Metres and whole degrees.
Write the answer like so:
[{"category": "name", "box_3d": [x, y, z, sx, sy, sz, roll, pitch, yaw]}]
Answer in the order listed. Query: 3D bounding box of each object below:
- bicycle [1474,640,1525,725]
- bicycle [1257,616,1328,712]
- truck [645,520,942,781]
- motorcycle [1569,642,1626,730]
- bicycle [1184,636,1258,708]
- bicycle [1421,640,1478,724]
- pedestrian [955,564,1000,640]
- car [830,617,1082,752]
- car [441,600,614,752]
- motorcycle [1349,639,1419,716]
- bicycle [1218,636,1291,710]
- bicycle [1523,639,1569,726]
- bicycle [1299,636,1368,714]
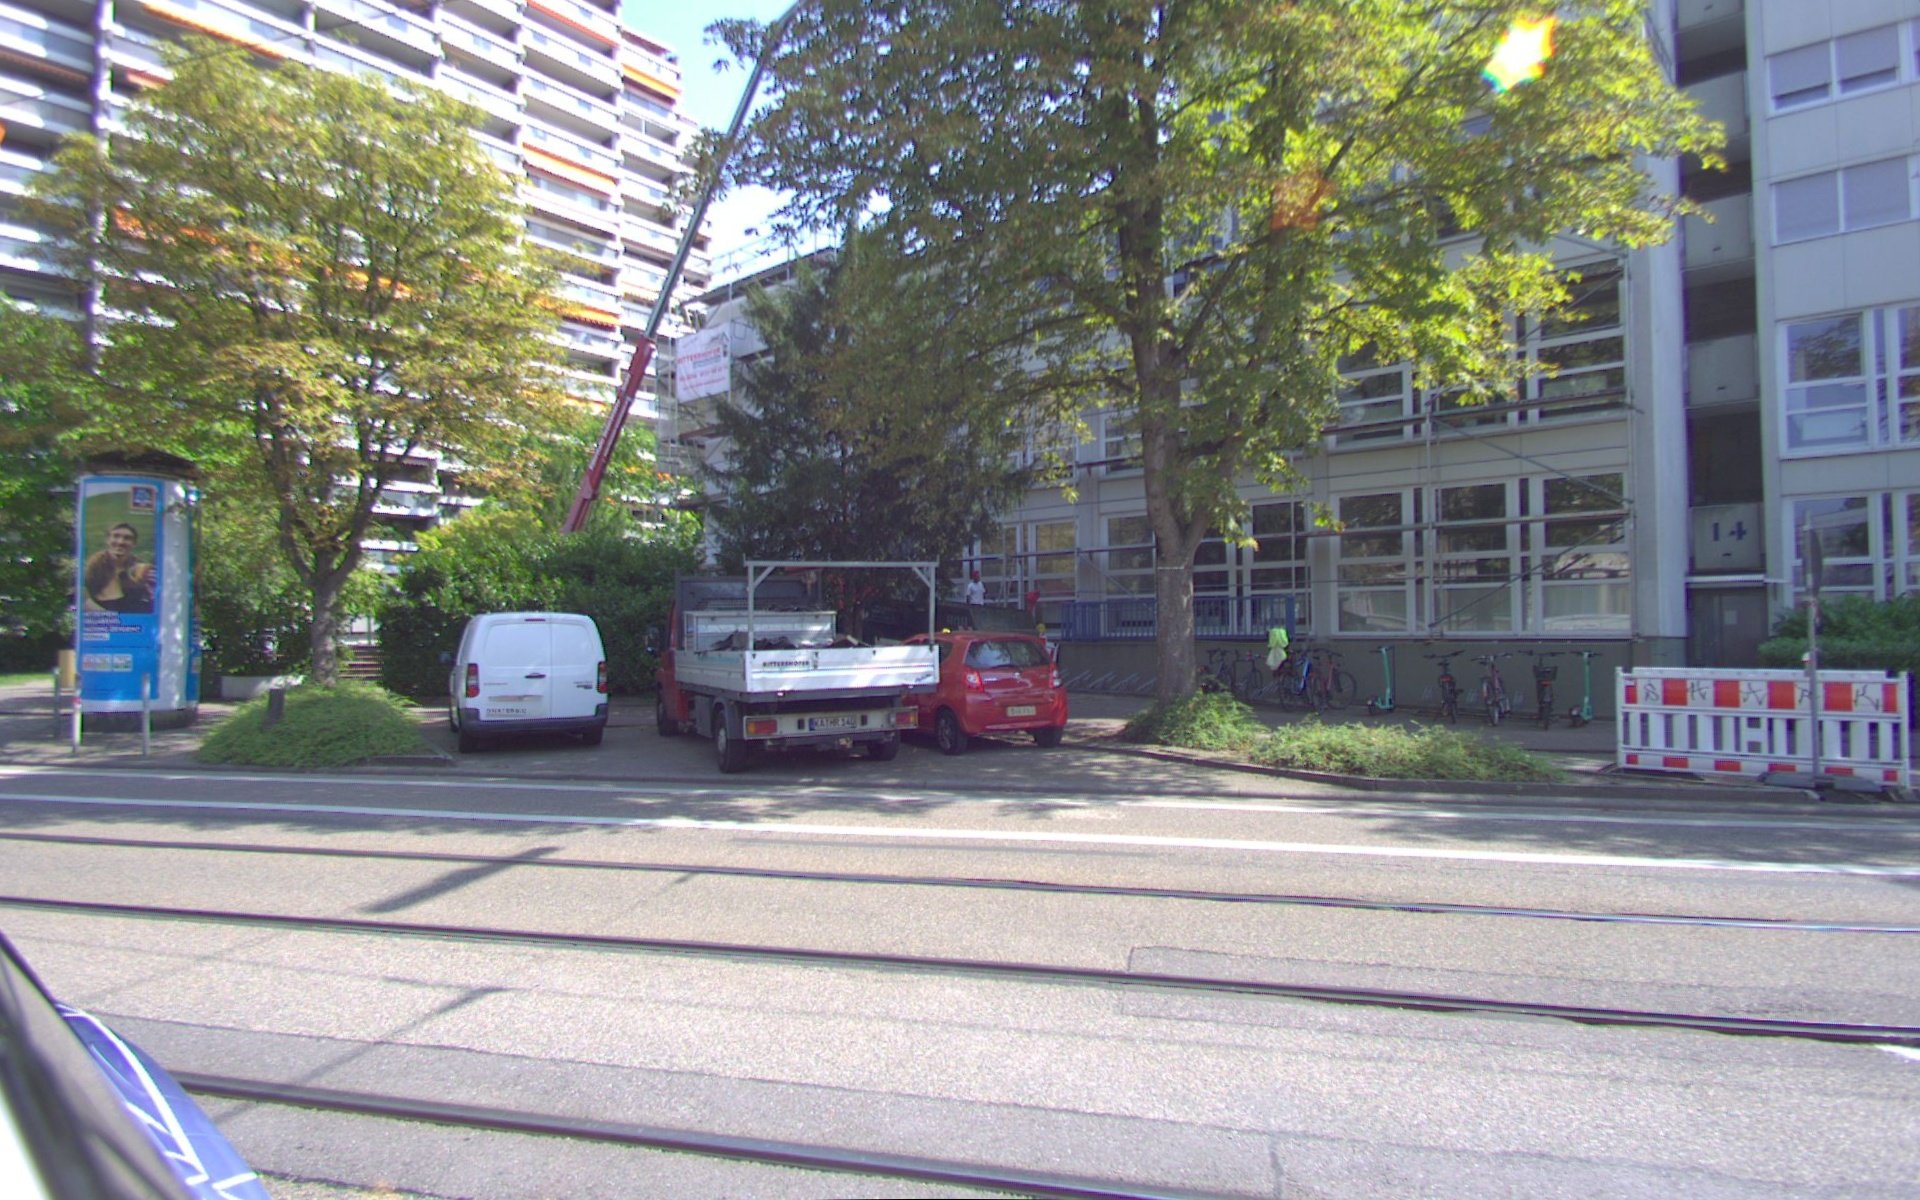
[{"category": "bicycle", "box_3d": [8.650, 1.267, 16.180, 0.620, 1.178, 2.322, -1, 0, 30]}, {"category": "bicycle", "box_3d": [5.914, 1.080, 17.904, 0.600, 1.537, 2.319, -1, 0, 33]}, {"category": "truck", "box_3d": [-2.411, 0.556, 12.670, 2.113, 2.453, 5.988, 1, -2, -25]}, {"category": "motorcycle", "box_3d": [9.832, 1.277, 15.584, 0.693, 1.191, 1.824, -1, 0, 33]}, {"category": "bicycle", "box_3d": [4.829, 1.284, 18.631, 0.600, 1.168, 2.319, -1, 0, 33]}, {"category": "bicycle", "box_3d": [8.028, 1.289, 16.539, 0.620, 1.178, 2.321, -1, 0, 31]}, {"category": "pedestrian", "box_3d": [0.423, 0.066, 24.542, 0.829, 1.801, 0.730, -3, -3, 41]}, {"category": "car", "box_3d": [-0.217, 1.036, 13.539, 1.691, 1.519, 3.872, 1, -3, -30]}, {"category": "car", "box_3d": [-6.204, 0.978, 14.232, 1.794, 1.785, 4.298, 1, -2, -29]}, {"category": "motorcycle", "box_3d": [7.252, 1.283, 17.255, 0.742, 1.163, 1.984, -1, 0, 33]}, {"category": "bicycle", "box_3d": [5.348, 1.282, 18.269, 0.600, 1.168, 2.319, -1, 0, 33]}, {"category": "bicycle", "box_3d": [9.192, 1.240, 15.885, 0.560, 1.178, 2.322, -1, 0, 30]}, {"category": "bicycle", "box_3d": [6.492, 1.249, 17.514, 0.600, 1.178, 2.319, -1, 0, 33]}]
